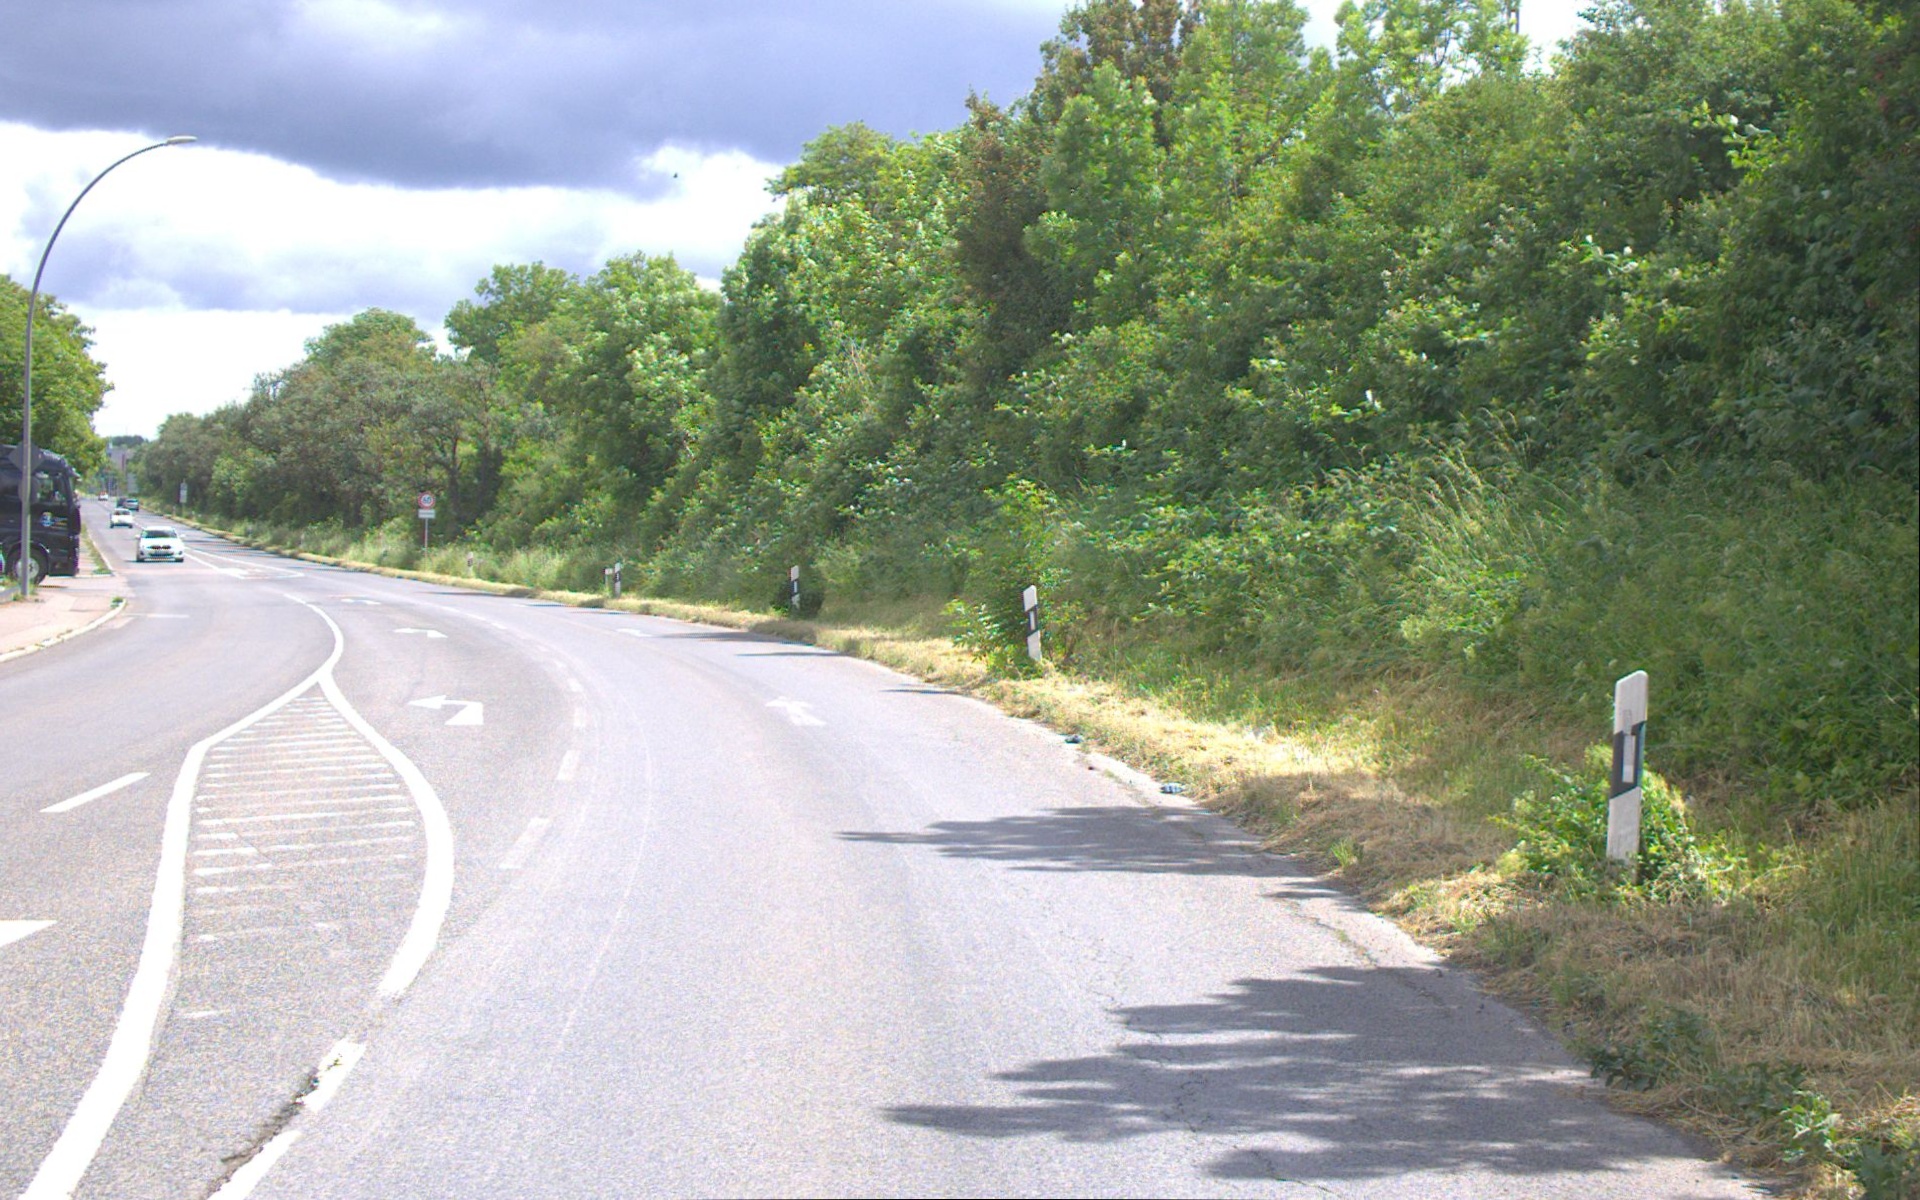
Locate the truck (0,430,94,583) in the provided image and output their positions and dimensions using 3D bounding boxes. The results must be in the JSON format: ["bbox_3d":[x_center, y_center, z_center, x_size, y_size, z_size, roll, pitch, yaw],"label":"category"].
[{"bbox_3d":[-26.716,-2.504,92.602,6.117,4.079,2.826,-1,2,-25],"label":"truck"}]

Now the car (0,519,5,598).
[{"bbox_3d":[-23.393,-0.969,75.265,4.302,1.757,1.999,1,1,-42],"label":"car"}]

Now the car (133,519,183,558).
[{"bbox_3d":[-33.268,-2.542,142.582,1.993,1.532,4.001,1,1,-13],"label":"car"}]
